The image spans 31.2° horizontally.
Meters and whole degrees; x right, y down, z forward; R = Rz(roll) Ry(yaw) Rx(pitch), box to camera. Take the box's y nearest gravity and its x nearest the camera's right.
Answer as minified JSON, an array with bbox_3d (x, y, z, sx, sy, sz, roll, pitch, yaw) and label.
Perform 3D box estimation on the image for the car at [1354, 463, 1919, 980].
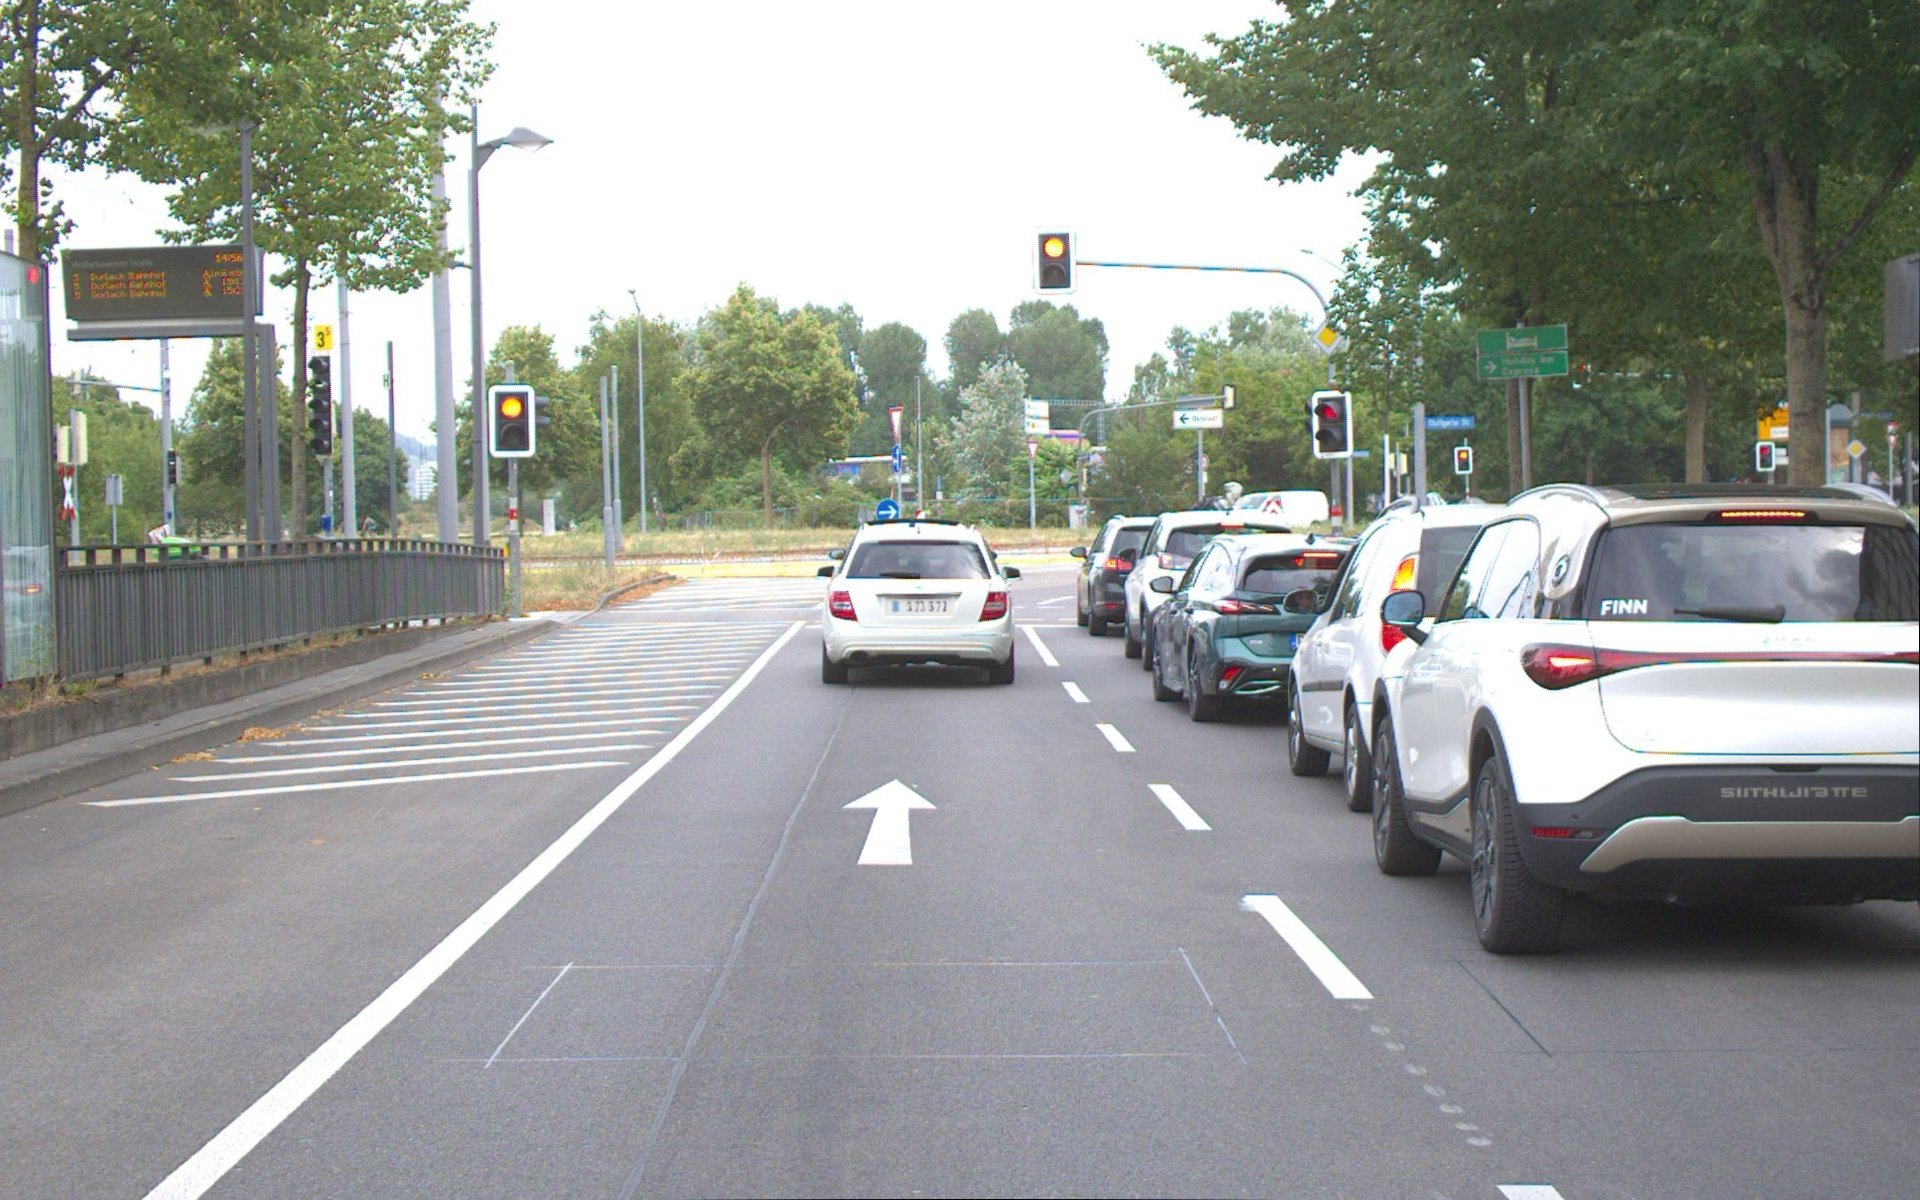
[{"bbox_3d":[2.645,0.340,13.106,1.779,1.651,4.024,1,2,0],"label":"car"}]

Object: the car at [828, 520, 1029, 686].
[{"bbox_3d":[-0.352,-0.017,32.393,1.773,1.443,3.911,0,1,-2],"label":"car"}]

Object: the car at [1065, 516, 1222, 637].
[{"bbox_3d":[2.270,-0.327,43.428,1.624,1.443,3.911,0,1,-2],"label":"car"}]

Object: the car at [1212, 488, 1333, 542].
[{"bbox_3d":[12.186,-3.332,133.784,1.999,2.006,4.987,1,2,44],"label":"car"}]

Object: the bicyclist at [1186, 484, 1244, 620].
[{"bbox_3d":[3.616,-0.688,48.829,0.728,1.879,0.734,-1,4,-2],"label":"bicyclist"}]

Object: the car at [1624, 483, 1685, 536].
[{"bbox_3d":[22.426,-2.928,111.083,1.784,1.630,4.400,-1,1,10],"label":"car"}]

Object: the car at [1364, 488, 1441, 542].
[{"bbox_3d":[15.028,-2.880,116.970,1.993,1.784,4.000,1,1,-1],"label":"car"}]

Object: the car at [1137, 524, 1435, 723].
[{"bbox_3d":[2.517,0.123,27.468,1.787,1.427,4.311,-1,1,-2],"label":"car"}]

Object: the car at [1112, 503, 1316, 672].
[{"bbox_3d":[2.572,-0.177,35.538,1.787,1.619,3.911,-1,1,0],"label":"car"}]

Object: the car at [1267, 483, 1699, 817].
[{"bbox_3d":[2.816,0.199,19.339,1.779,1.651,4.024,-1,1,0],"label":"car"}]

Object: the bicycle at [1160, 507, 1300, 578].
[{"bbox_3d":[3.842,-0.822,48.950,1.933,0.980,0.565,-1,2,-1],"label":"bicycle"}]

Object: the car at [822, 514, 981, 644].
[{"bbox_3d":[-0.728,-0.287,40.602,1.773,1.443,3.911,0,1,-2],"label":"car"}]
